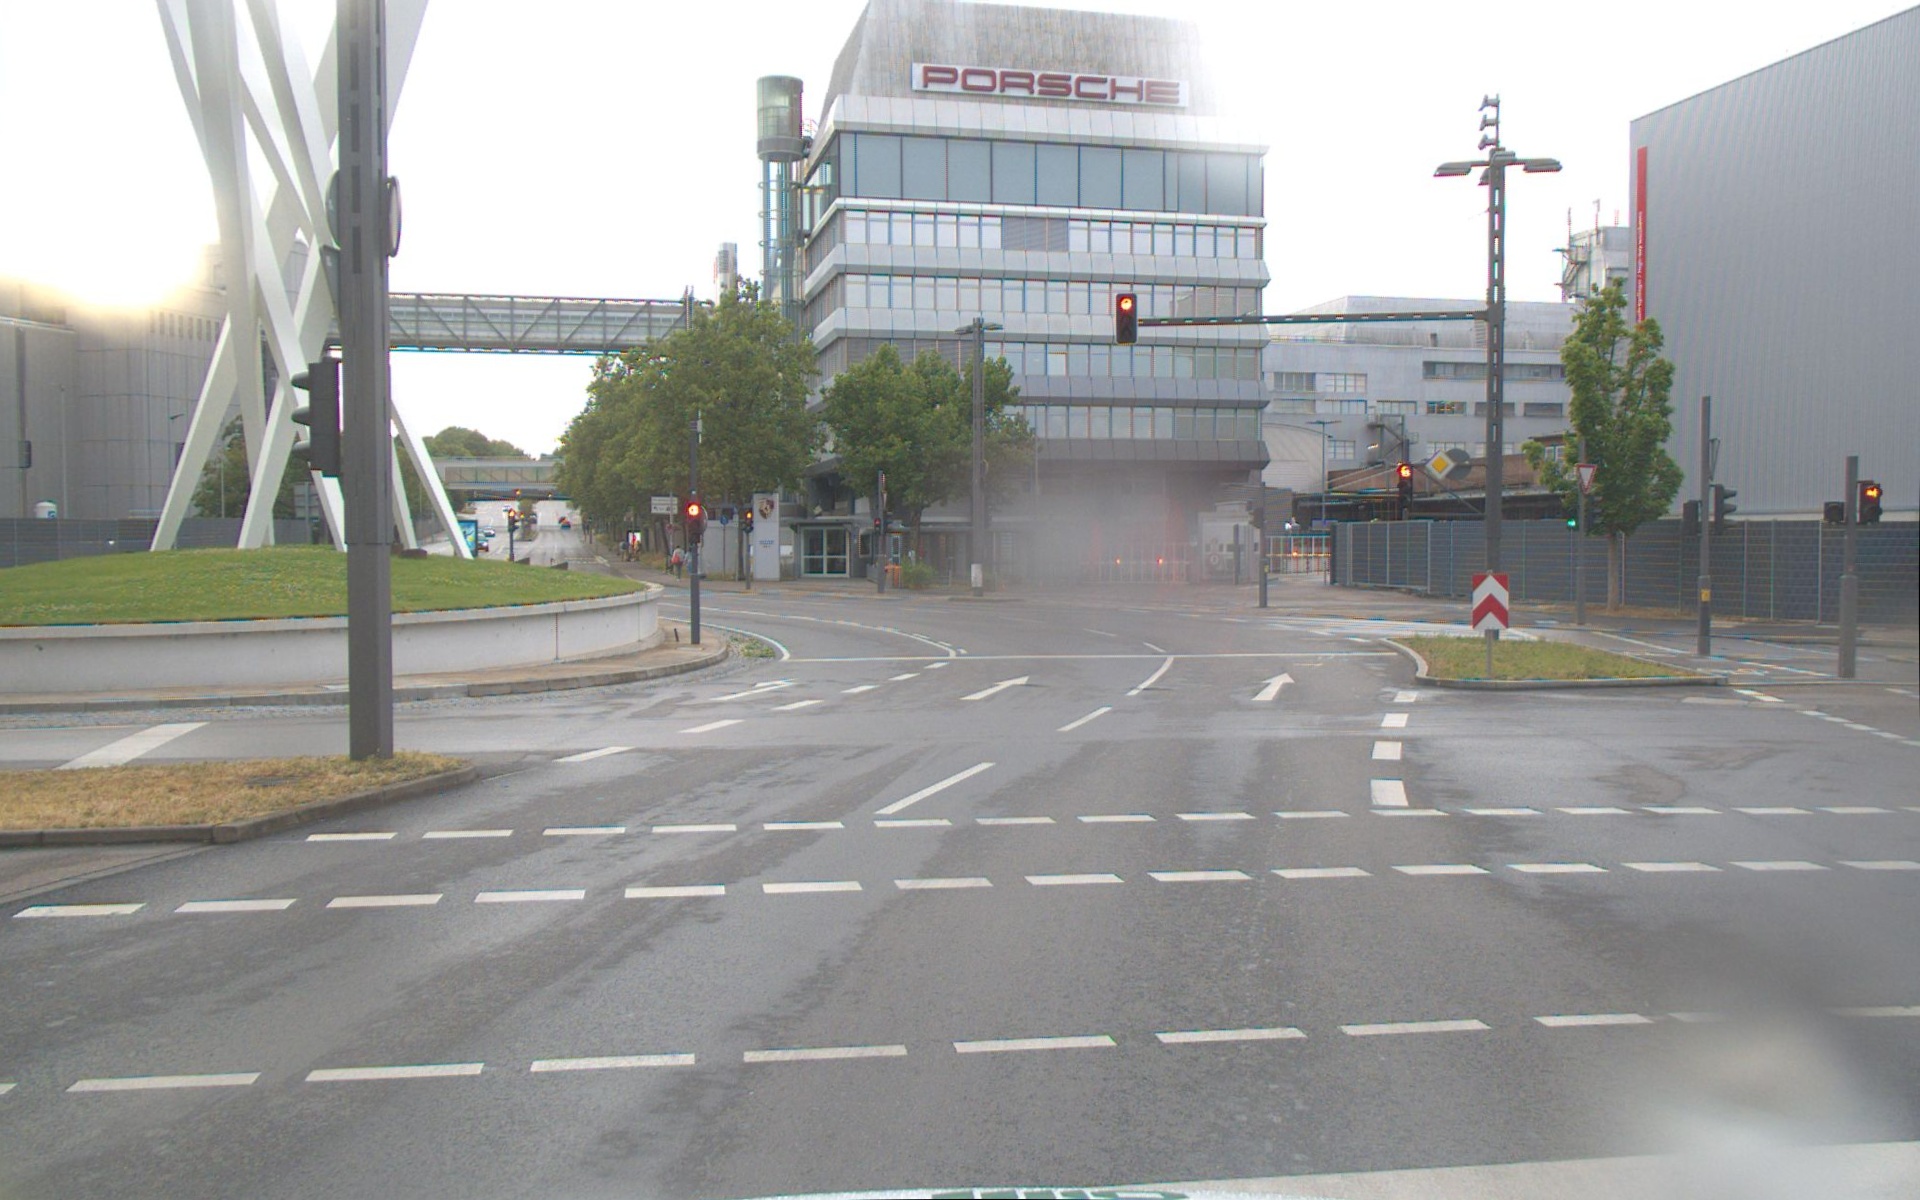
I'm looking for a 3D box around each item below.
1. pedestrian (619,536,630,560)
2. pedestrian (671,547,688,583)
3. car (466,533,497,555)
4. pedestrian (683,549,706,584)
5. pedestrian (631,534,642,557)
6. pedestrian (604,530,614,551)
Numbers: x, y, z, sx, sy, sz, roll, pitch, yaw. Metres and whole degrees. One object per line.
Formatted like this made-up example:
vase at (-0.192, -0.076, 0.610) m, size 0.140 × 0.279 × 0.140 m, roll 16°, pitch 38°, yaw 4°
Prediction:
pedestrian at (-24.358, -3.772, 120.131) m, size 0.699 × 1.770 × 0.757 m, roll 1°, pitch -1°, yaw -14°
pedestrian at (-12.727, -1.591, 75.054) m, size 0.696 × 1.619 × 0.839 m, roll -1°, pitch 2°, yaw -10°
car at (-48.819, -5.712, 168.772) m, size 1.953 × 2.049 × 3.999 m, roll 1°, pitch 0°, yaw -1°
pedestrian at (-11.946, -1.528, 74.284) m, size 0.821 × 1.547 × 0.835 m, roll -1°, pitch 2°, yaw -25°
pedestrian at (-25.428, -4.250, 130.029) m, size 0.744 × 1.770 × 0.712 m, roll 1°, pitch -1°, yaw -10°
pedestrian at (-35.126, -5.925, 165.498) m, size 0.749 × 2.049 × 0.693 m, roll 0°, pitch 1°, yaw 3°
